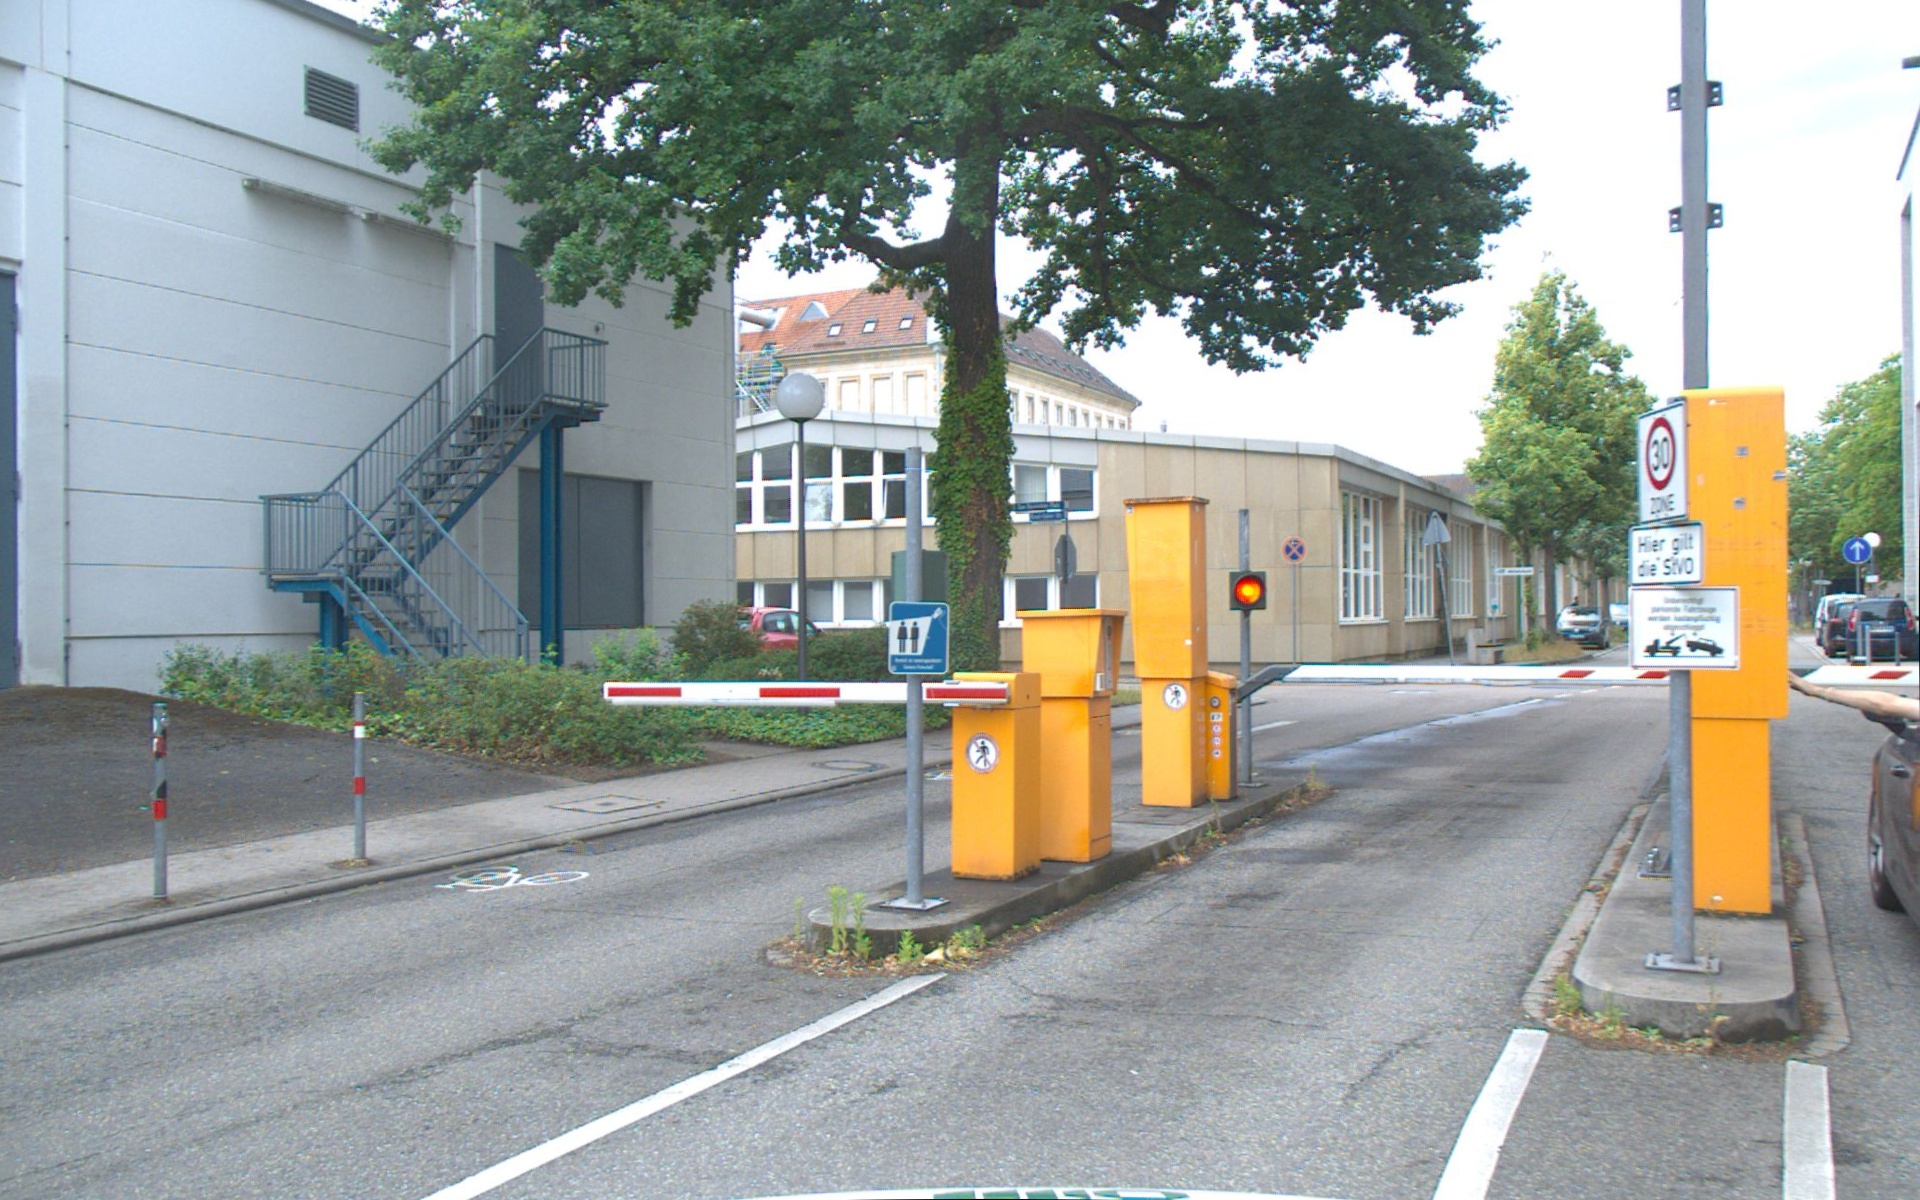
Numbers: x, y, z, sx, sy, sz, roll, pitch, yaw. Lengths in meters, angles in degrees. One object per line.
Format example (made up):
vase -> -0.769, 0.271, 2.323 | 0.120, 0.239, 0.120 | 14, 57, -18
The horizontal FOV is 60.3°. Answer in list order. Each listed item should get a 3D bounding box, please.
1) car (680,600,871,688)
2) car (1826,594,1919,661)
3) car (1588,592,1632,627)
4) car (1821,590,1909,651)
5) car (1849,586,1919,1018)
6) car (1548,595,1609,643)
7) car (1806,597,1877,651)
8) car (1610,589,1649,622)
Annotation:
car -> -3.467, 0.791, 31.797 | 1.826, 1.557, 3.997 | 0, 0, 25
car -> 24.362, 0.728, 44.108 | 1.954, 1.651, 4.425 | -2, -1, 25
car -> 31.273, 0.462, 79.521 | 1.735, 1.629, 3.997 | 0, 0, 25
car -> 26.310, 0.573, 48.194 | 1.954, 1.651, 4.424 | -3, -1, 26
car -> 4.606, 0.668, 6.469 | 1.747, 1.444, 4.127 | 0, 0, 25
car -> 21.973, 0.652, 58.715 | 1.735, 1.629, 3.997 | 0, 0, 25
car -> 31.749, 0.853, 59.648 | 1.954, 1.813, 4.424 | -3, -1, 25
car -> 34.119, 0.267, 84.245 | 1.734, 1.629, 3.998 | 0, 0, 24
